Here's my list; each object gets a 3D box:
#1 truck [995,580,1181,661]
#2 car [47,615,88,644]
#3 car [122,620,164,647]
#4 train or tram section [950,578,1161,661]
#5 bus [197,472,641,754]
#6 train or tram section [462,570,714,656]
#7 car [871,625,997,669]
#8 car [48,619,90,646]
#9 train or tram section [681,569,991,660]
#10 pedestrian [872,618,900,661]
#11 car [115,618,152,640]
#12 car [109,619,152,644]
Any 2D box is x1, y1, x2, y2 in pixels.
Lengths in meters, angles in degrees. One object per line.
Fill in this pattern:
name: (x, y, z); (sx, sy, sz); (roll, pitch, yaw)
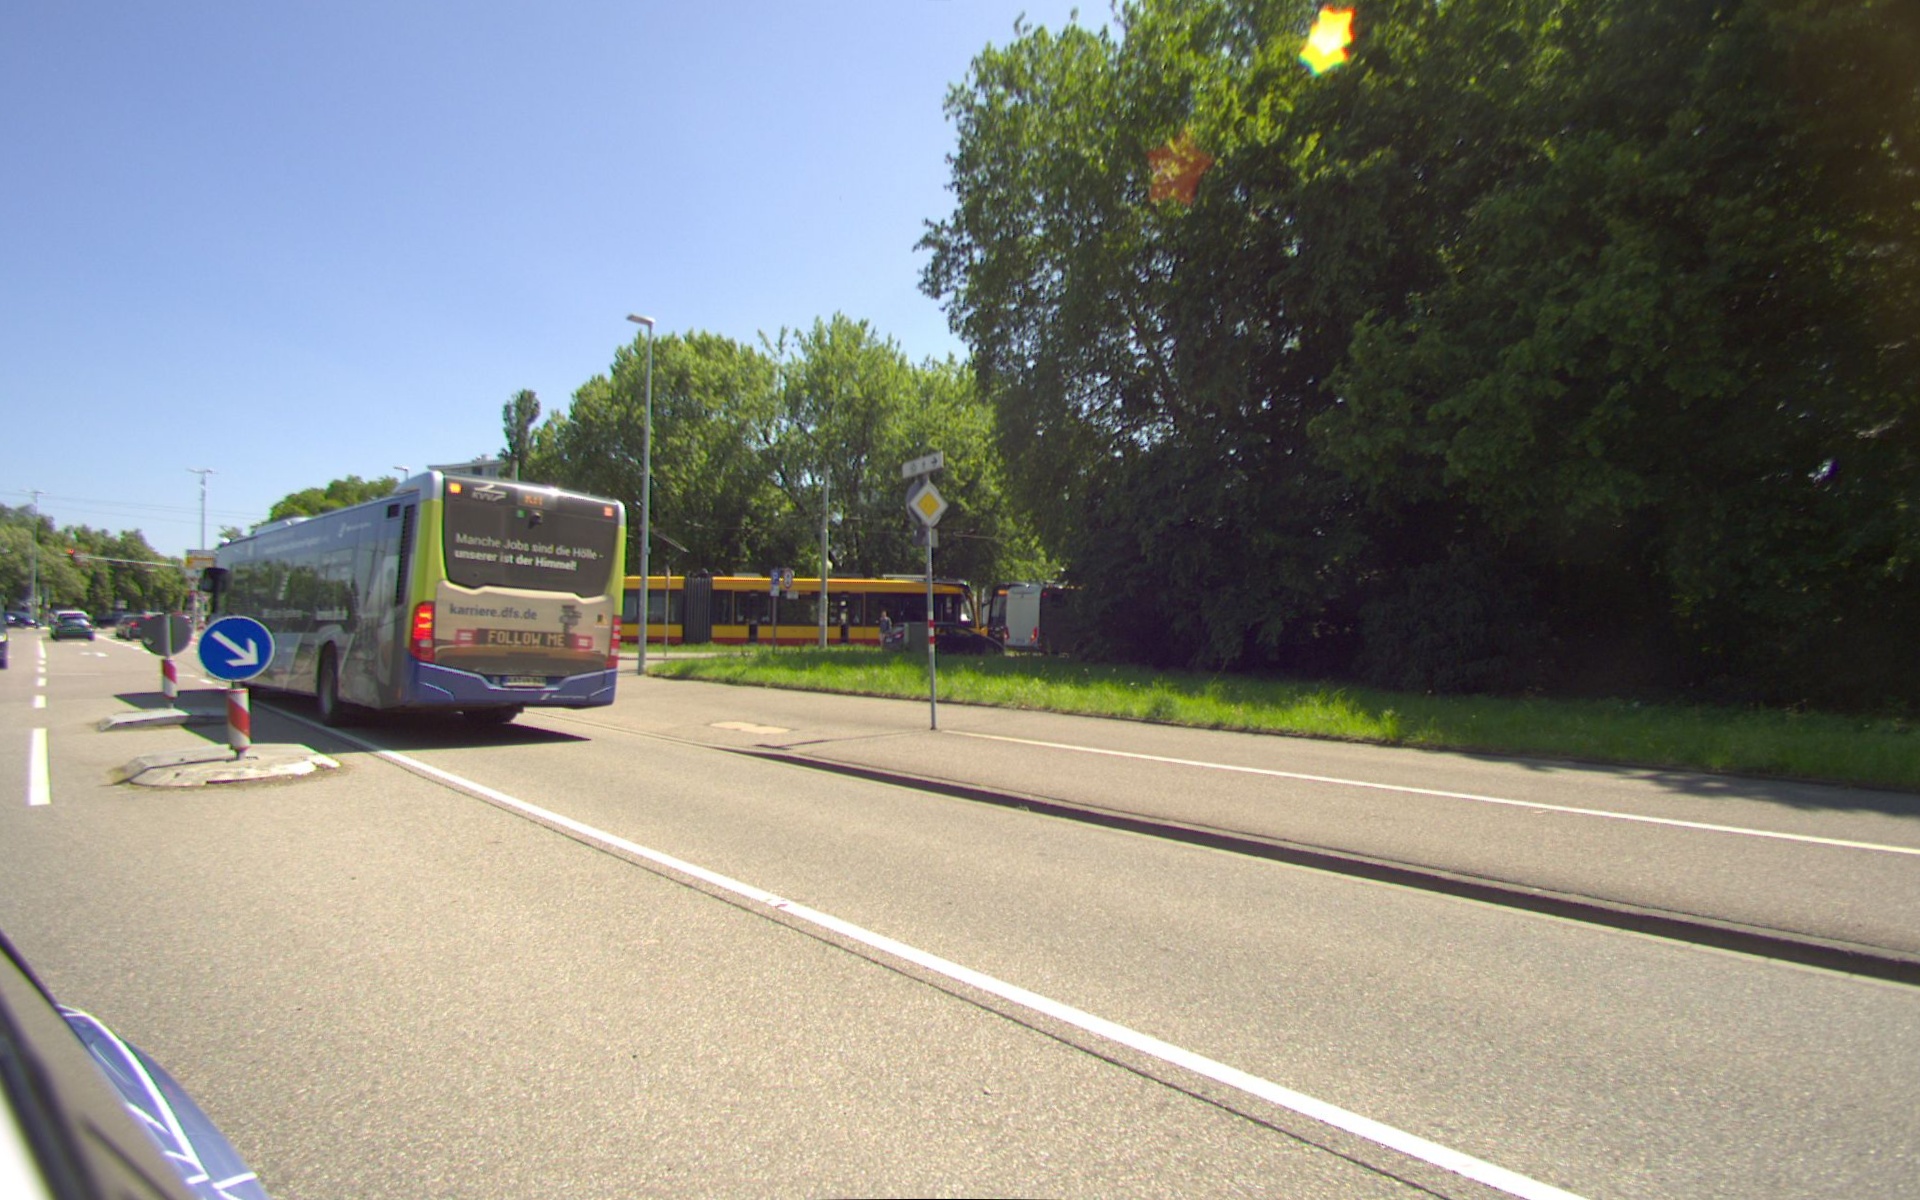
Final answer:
truck: (5.103, 0.853, 39.572); (7.218, 2.932, 2.575); (2, -2, -33)
car: (-55.242, 1.796, 62.593); (1.790, 1.736, 4.836); (1, -2, -42)
car: (-46.167, 1.870, 57.186); (1.602, 1.467, 3.505); (3, -3, -42)
train or tram section: (5.399, 1.209, 52.692); (3.026, 3.788, 13.992); (-2, -4, 43)
bus: (-9.316, 0.272, 16.147); (11.942, 3.068, 2.718); (-1, -3, 44)
train or tram section: (-17.505, 0.638, 47.665); (11.512, 3.788, 3.010); (0, -3, 16)
car: (-0.883, 1.655, 36.035); (4.241, 1.428, 1.671); (2, -1, -34)
car: (-50.056, 1.811, 56.911); (1.701, 1.474, 3.996); (1, -2, -41)
train or tram section: (-5.677, 0.768, 47.086); (13.820, 3.788, 3.032); (1, -3, -10)
pedestrian: (-3.022, 1.598, 41.338); (0.798, 1.723, 0.855); (1, -3, -45)
car: (-57.675, 2.023, 70.561); (1.769, 1.467, 4.418); (2, -2, -42)
car: (-51.983, 1.966, 63.393); (1.739, 1.468, 4.289); (2, -2, -43)
